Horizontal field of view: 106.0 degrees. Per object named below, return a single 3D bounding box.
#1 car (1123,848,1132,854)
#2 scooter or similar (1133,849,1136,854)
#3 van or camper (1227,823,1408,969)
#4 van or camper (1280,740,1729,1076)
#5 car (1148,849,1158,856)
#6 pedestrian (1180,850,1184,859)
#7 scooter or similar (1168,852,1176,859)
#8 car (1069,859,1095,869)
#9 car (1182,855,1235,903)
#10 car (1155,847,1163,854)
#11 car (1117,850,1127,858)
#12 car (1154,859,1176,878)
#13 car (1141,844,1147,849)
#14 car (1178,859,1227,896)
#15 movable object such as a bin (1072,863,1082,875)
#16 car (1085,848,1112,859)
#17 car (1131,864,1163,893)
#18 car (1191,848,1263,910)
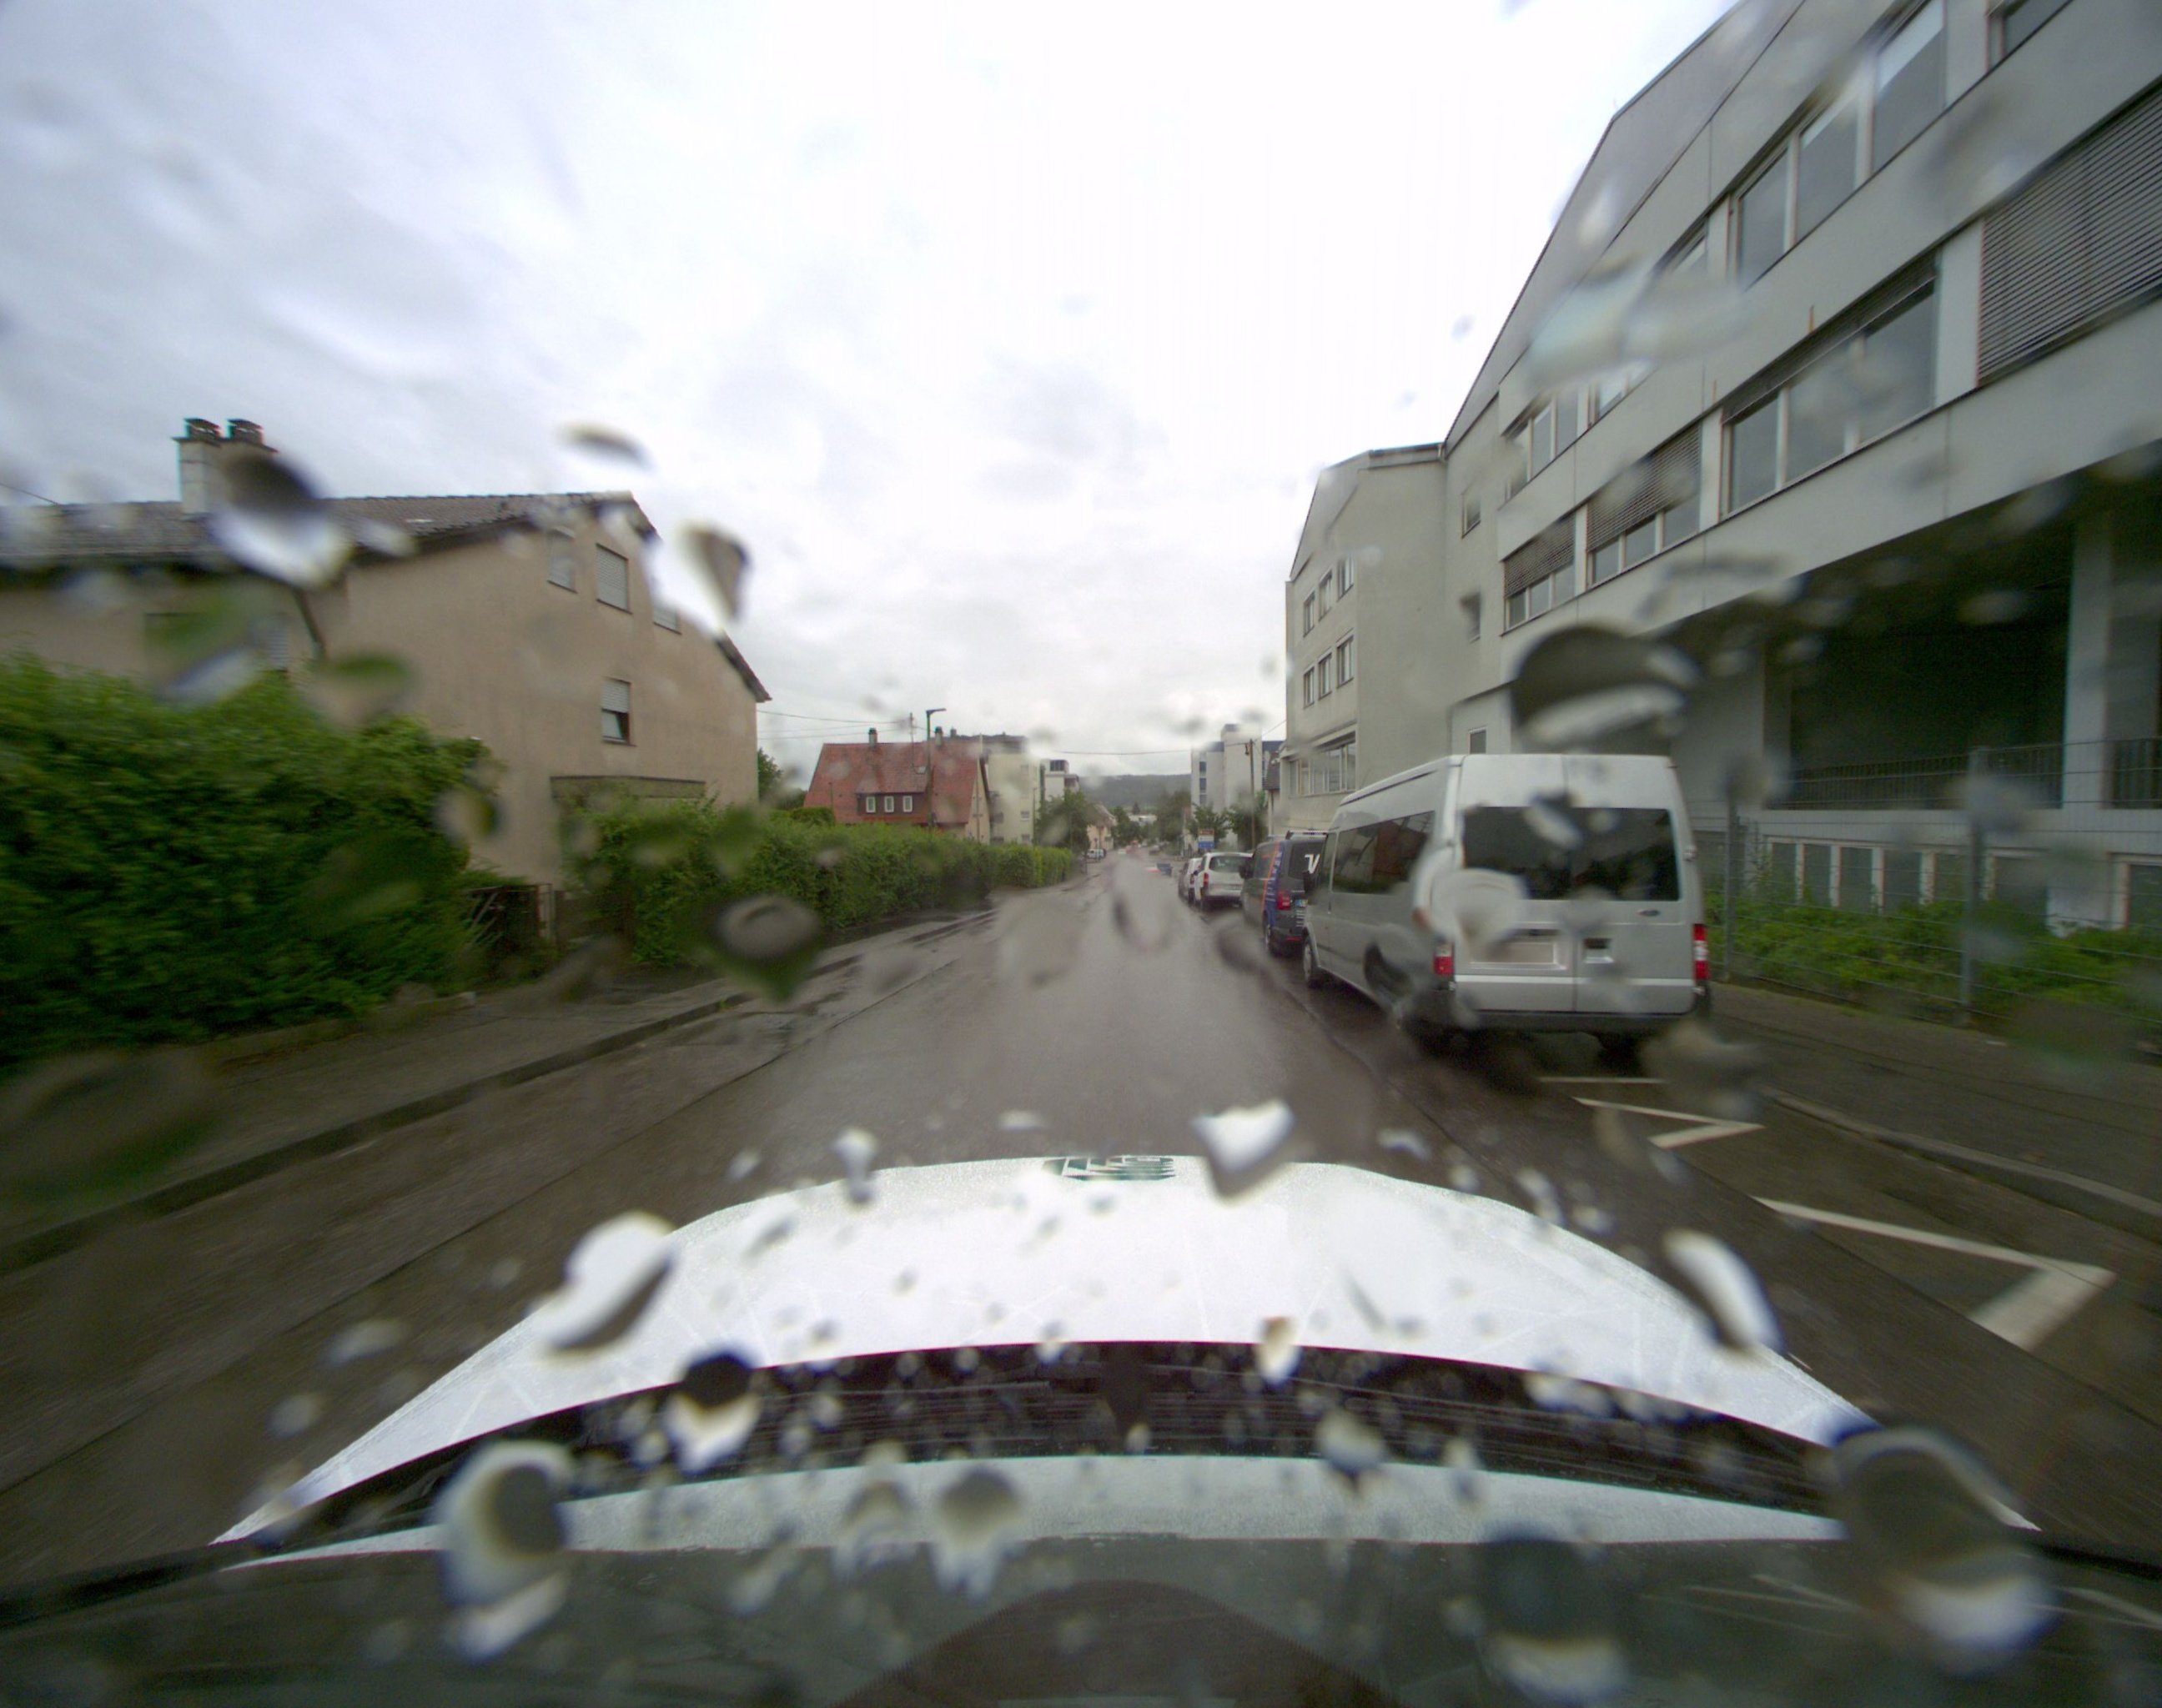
[{"bbox_3d":[11.835,-0.755,207.097,1.892,1.558,4.198,-2,1,5],"label":"car"},{"bbox_3d":[12.824,-0.659,194.748,0.753,1.171,1.317,-2,1,6],"label":"scooter or similar"},{"bbox_3d":[3.949,0.627,14.608,1.985,2.113,5.208,-2,0,4],"label":"van or camper"},{"bbox_3d":[3.540,0.381,8.282,1.985,2.243,5.446,-2,0,4],"label":"van or camper"},{"bbox_3d":[16.350,-0.330,183.916,2.136,1.589,4.134,-2,1,5],"label":"car"},{"bbox_3d":[17.571,0.111,141.848,0.645,1.647,0.526,2,0,-2],"label":"pedestrian"},{"bbox_3d":[15.722,0.298,140.793,1.264,1.081,0.876,-2,1,0],"label":"scooter or similar"},{"bbox_3d":[0.141,1.598,128.002,1.900,1.525,3.954,-2,1,-39],"label":"car"},{"bbox_3d":[5.217,0.974,33.802,1.869,1.834,4.494,-1,-1,5],"label":"car"},{"bbox_3d":[19.782,-0.939,205.659,1.892,1.745,4.198,-2,1,5],"label":"car"},{"bbox_3d":[8.628,-0.033,170.724,1.984,1.625,4.198,-2,1,5],"label":"car"},{"bbox_3d":[8.477,1.461,82.393,1.985,1.683,4.003,-2,1,3],"label":"car"},{"bbox_3d":[19.799,-2.367,256.975,1.892,1.558,4.198,-2,1,5],"label":"car"},{"bbox_3d":[5.761,1.098,39.117,1.984,1.644,4.964,-1,-1,5],"label":"car"},{"bbox_3d":[-0.408,1.701,90.784,1.067,1.347,1.320,1,0,2],"label":"movable object such as a bin"},{"bbox_3d":[3.285,-0.045,151.400,4.864,1.835,1.979,-2,1,-34],"label":"car"},{"bbox_3d":[4.441,1.614,55.290,1.985,1.683,4.003,-2,1,3],"label":"car"},{"bbox_3d":[4.927,0.814,28.132,1.984,1.935,4.982,-1,-1,5],"label":"car"}]
